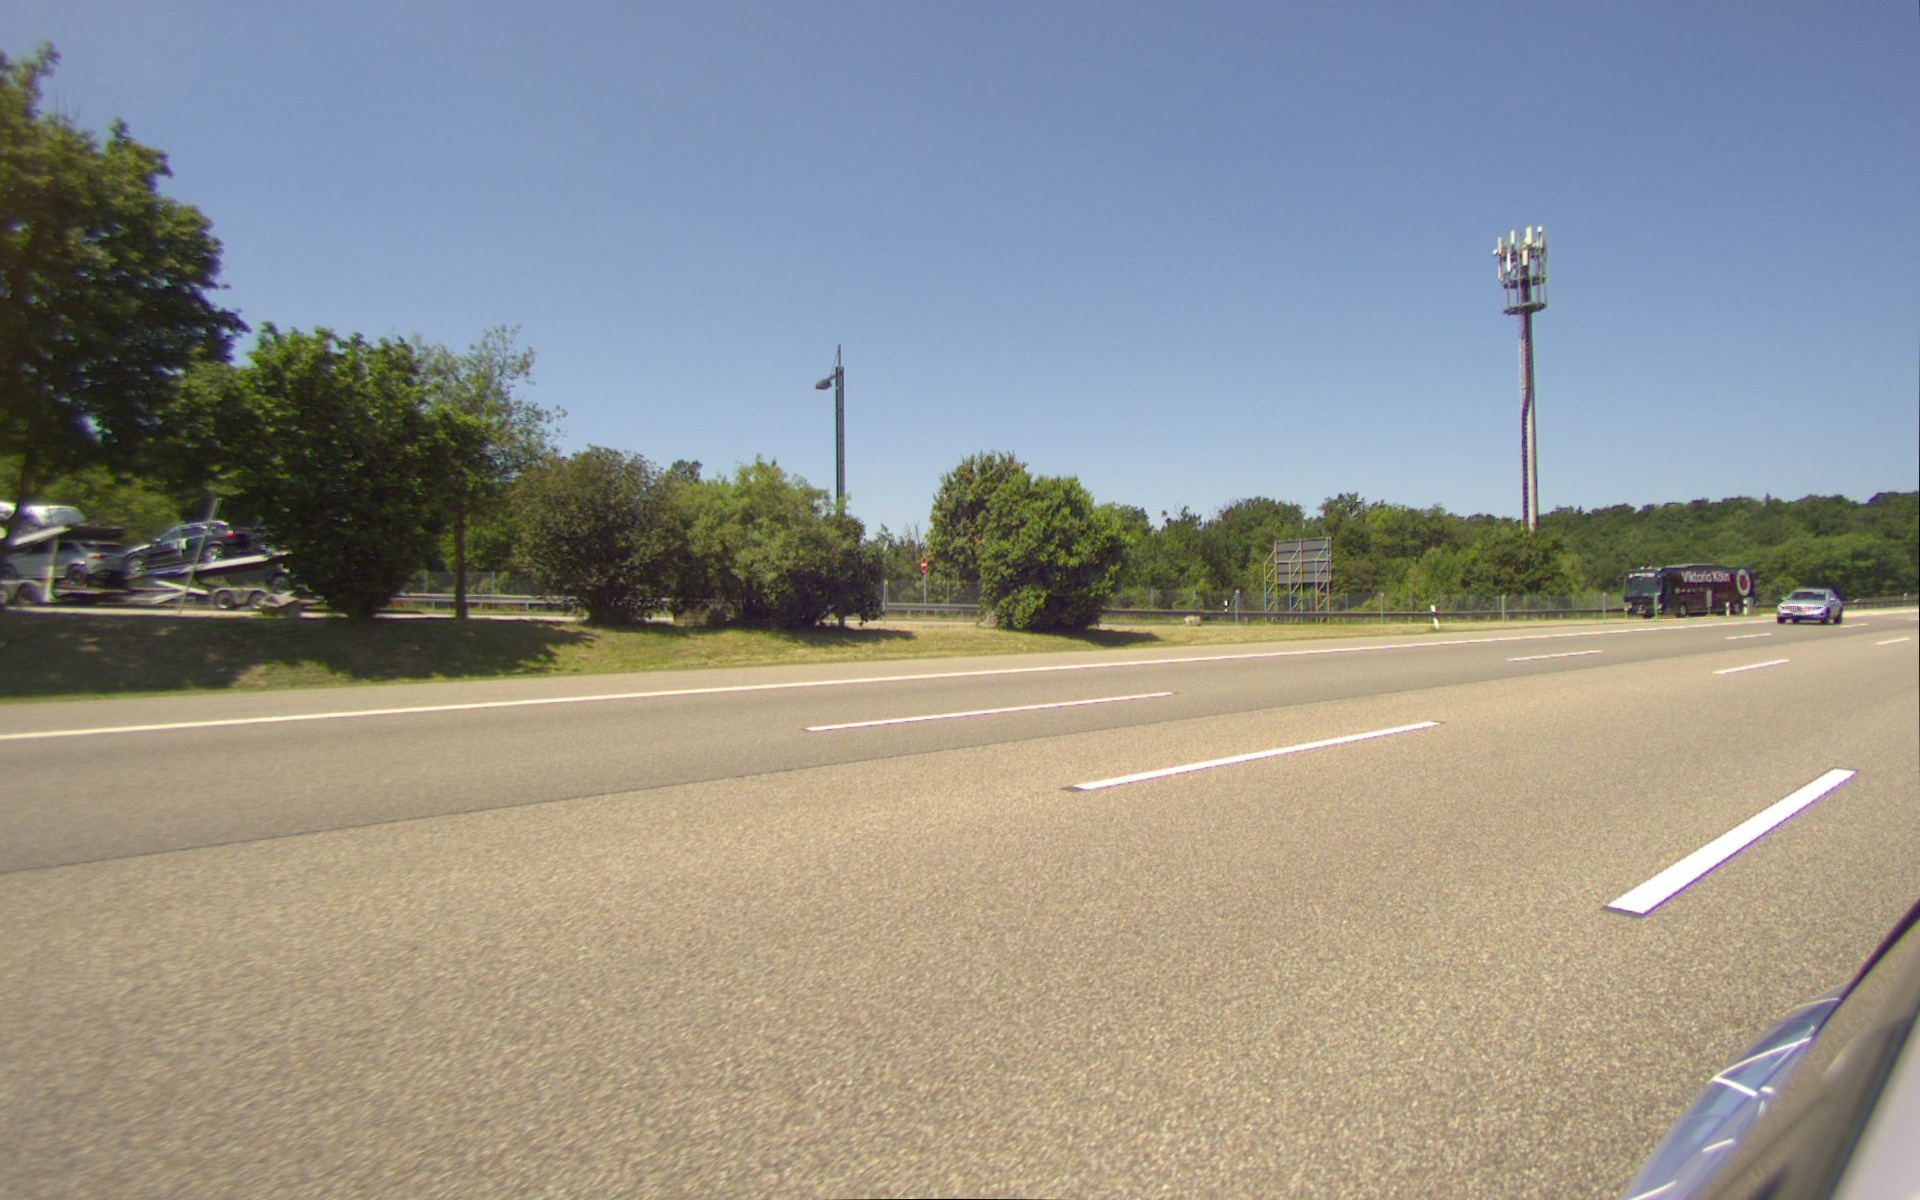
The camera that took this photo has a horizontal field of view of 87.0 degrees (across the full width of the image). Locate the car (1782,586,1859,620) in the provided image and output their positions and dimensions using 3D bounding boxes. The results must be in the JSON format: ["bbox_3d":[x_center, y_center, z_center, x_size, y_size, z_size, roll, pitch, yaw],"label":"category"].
[{"bbox_3d":[40.749,0.109,47.908,3.927,1.549,1.999,0,1,-38],"label":"car"}]

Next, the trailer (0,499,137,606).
[{"bbox_3d":[-38.150,-1.809,40.236,9.421,4.087,2.313,-1,0,4],"label":"trailer"}]

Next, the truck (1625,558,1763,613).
[{"bbox_3d":[51.299,-1.032,70.573,12.075,3.616,2.757,-1,0,-28],"label":"truck"}]

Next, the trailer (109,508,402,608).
[{"bbox_3d":[-27.823,-1.640,40.256,9.919,3.764,2.245,-1,0,-2],"label":"trailer"}]
